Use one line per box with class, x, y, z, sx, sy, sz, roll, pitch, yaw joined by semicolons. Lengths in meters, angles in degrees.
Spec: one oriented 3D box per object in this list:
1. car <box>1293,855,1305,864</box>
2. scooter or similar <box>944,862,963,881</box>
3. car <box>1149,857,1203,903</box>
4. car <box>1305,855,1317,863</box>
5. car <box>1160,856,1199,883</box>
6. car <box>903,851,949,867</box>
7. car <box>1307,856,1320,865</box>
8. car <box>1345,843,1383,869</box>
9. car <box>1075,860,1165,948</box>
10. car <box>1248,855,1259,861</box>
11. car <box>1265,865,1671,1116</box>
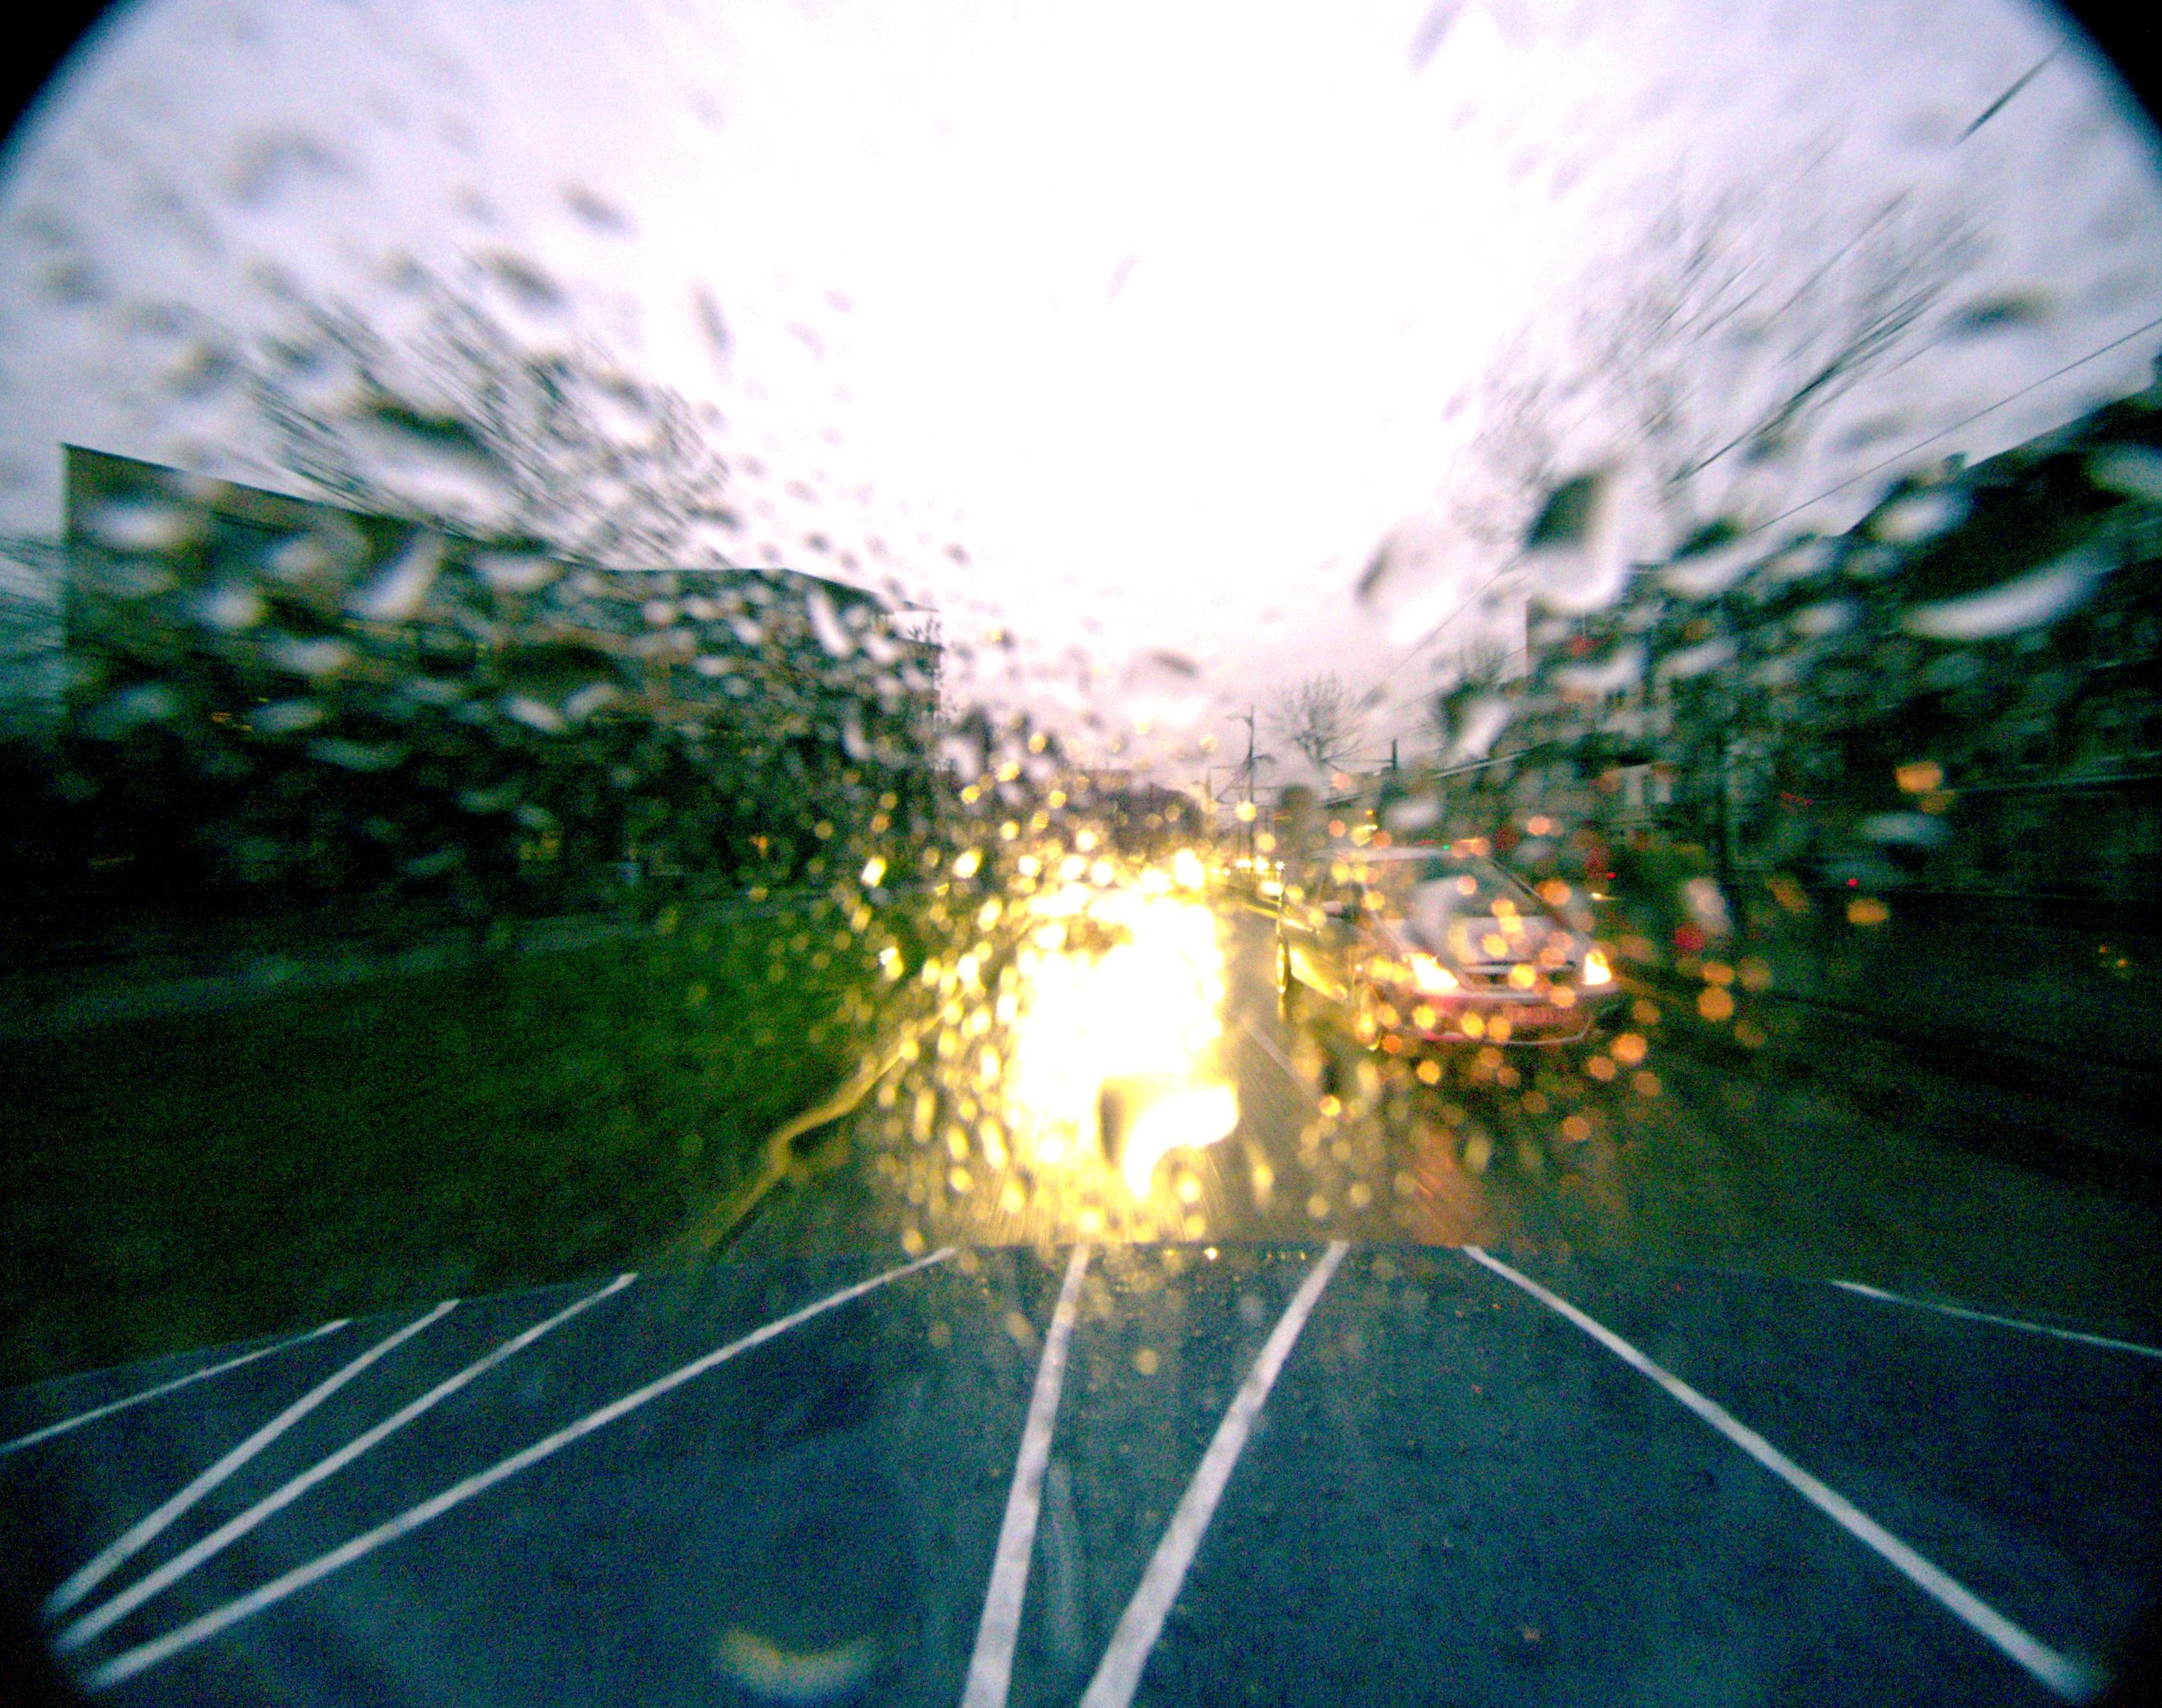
car;41.686;1.094;145.200;1.996;1.635;4.005;1;0;15
scooter or similar;-8.001;1.086;47.651;1.146;1.224;0.487;0;0;-15
car;3.386;0.892;27.639;1.752;1.535;4.001;1;0;4
car;45.873;0.989;151.629;1.996;1.635;4.005;1;0;15
car;6.920;1.057;52.878;1.816;1.732;4.193;1;0;20
car;-16.358;0.554;80.517;4.510;1.660;2.000;0;0;-2
car;40.982;1.111;134.126;1.996;1.635;4.005;1;0;15
car;25.704;0.187;69.207;1.997;2.296;5.269;0;0;6
car;0.801;0.952;16.109;1.649;1.575;3.805;-1;0;2
car;39.026;0.929;171.968;1.648;1.441;3.851;-1;0;0
car;2.948;0.900;6.875;1.649;1.539;4.110;-1;0;1
